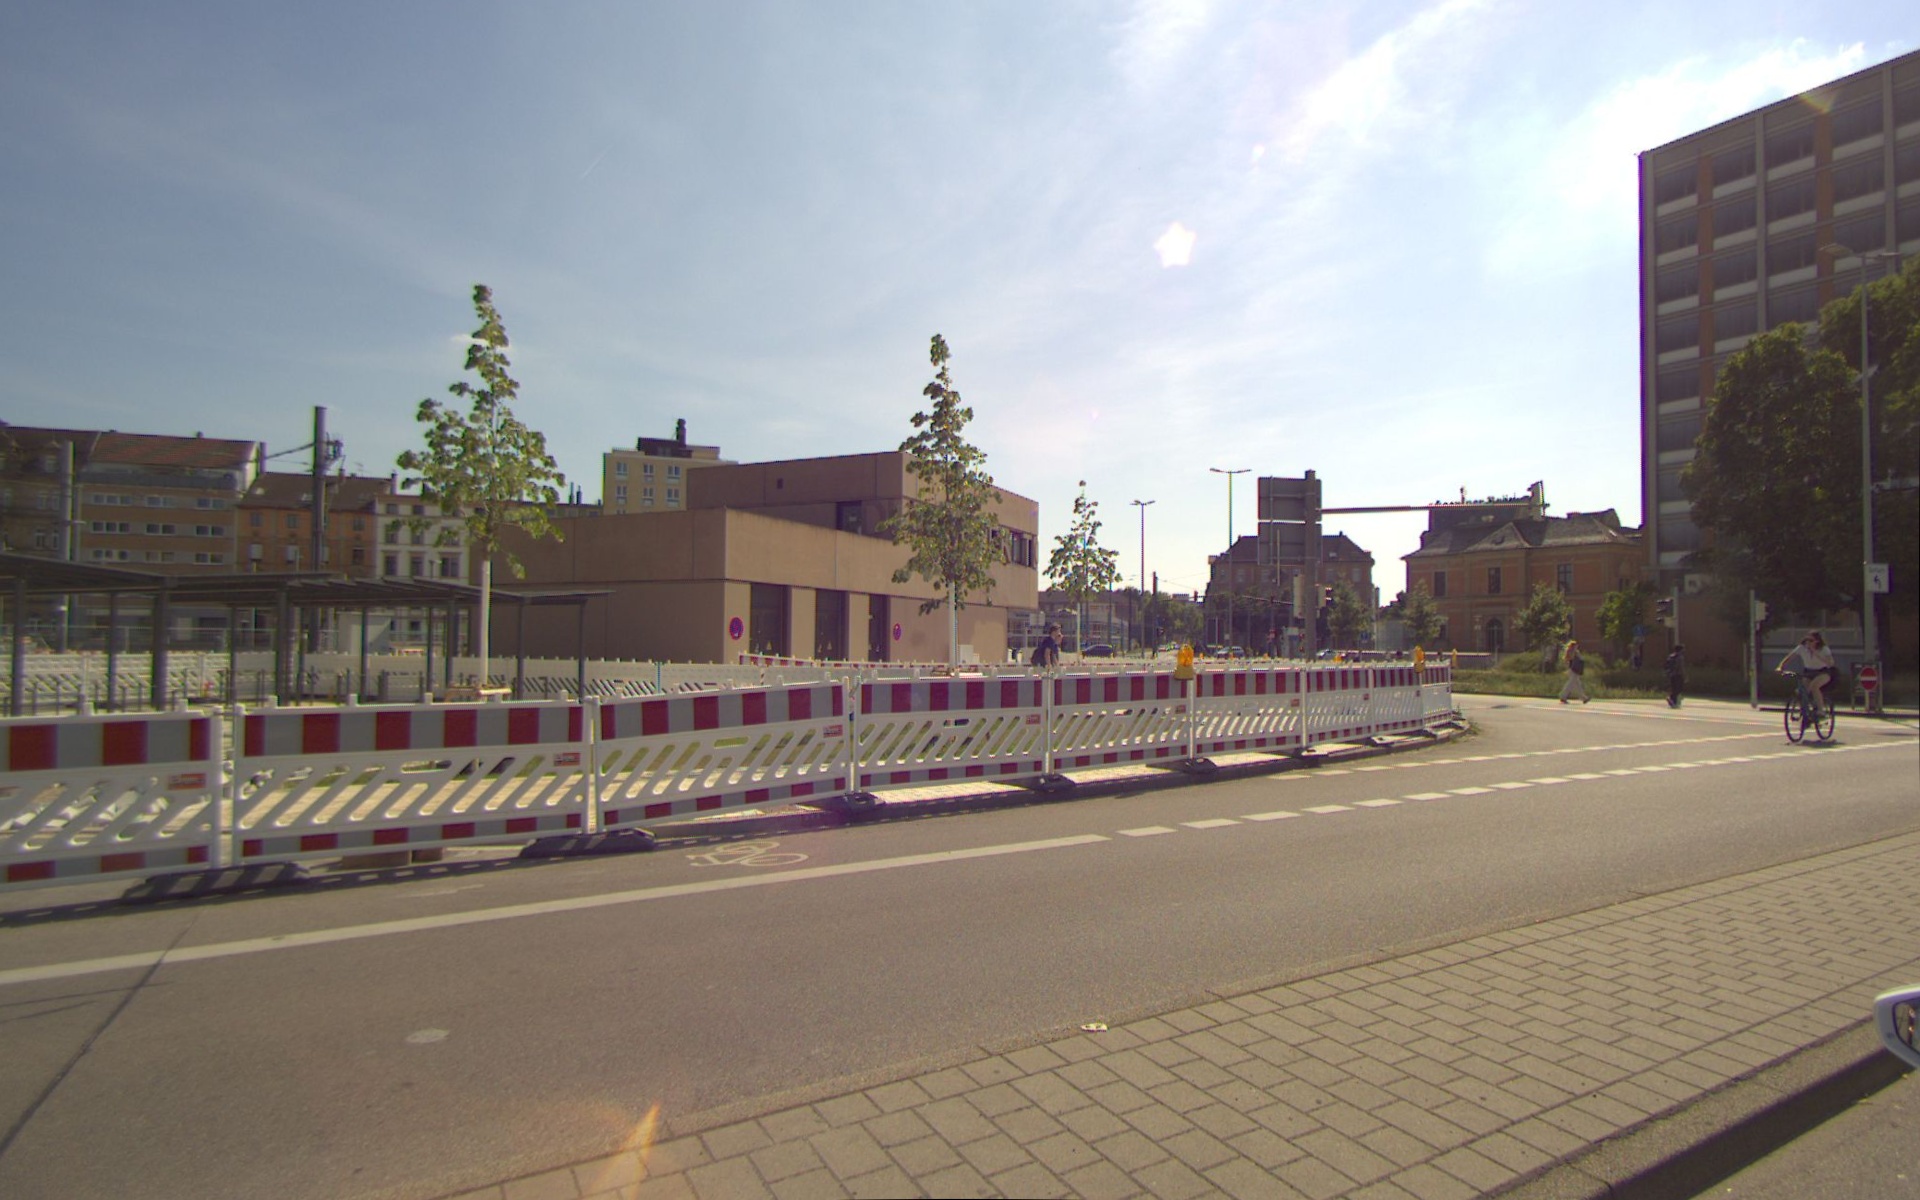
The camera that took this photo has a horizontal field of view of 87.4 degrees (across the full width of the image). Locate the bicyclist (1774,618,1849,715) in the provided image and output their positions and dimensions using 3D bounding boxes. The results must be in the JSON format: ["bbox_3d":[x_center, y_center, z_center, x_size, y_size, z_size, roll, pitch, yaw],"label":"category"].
[{"bbox_3d":[13.317,1.044,15.707,0.911,1.462,0.615,2,-5,-35],"label":"bicyclist"}]

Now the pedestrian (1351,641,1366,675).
[{"bbox_3d":[23.794,3.471,60.008,0.517,2.040,0.622,2,-3,-34],"label":"pedestrian"}]

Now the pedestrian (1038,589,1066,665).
[{"bbox_3d":[2.195,0.651,24.014,0.559,1.801,0.544,1,-2,-9],"label":"pedestrian"}]

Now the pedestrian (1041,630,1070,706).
[{"bbox_3d":[2.221,1.573,23.340,0.559,1.731,0.539,1,-2,-9],"label":"pedestrian"}]

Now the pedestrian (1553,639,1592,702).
[{"bbox_3d":[17.510,2.015,28.731,0.728,1.775,1.104,-2,-5,44],"label":"pedestrian"}]

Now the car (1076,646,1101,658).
[{"bbox_3d":[18.962,7.734,148.243,3.973,1.739,1.630,3,-4,-44],"label":"car"}]

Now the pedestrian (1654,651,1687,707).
[{"bbox_3d":[19.568,2.173,27.661,0.624,1.511,0.613,-2,-3,44],"label":"pedestrian"}]

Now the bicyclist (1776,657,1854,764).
[{"bbox_3d":[13.328,1.698,15.663,1.004,1.602,0.615,2,-5,-35],"label":"bicyclist"}]

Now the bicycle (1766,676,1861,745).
[{"bbox_3d":[13.328,1.698,15.663,1.948,0.973,0.615,2,-5,-35],"label":"bicycle"}]

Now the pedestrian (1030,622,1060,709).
[{"bbox_3d":[1.921,1.476,22.661,0.595,1.940,0.441,1,-2,-9],"label":"pedestrian"}]

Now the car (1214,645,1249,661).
[{"bbox_3d":[33.440,6.511,123.539,3.953,2.040,1.985,2,-3,-30],"label":"car"}]
